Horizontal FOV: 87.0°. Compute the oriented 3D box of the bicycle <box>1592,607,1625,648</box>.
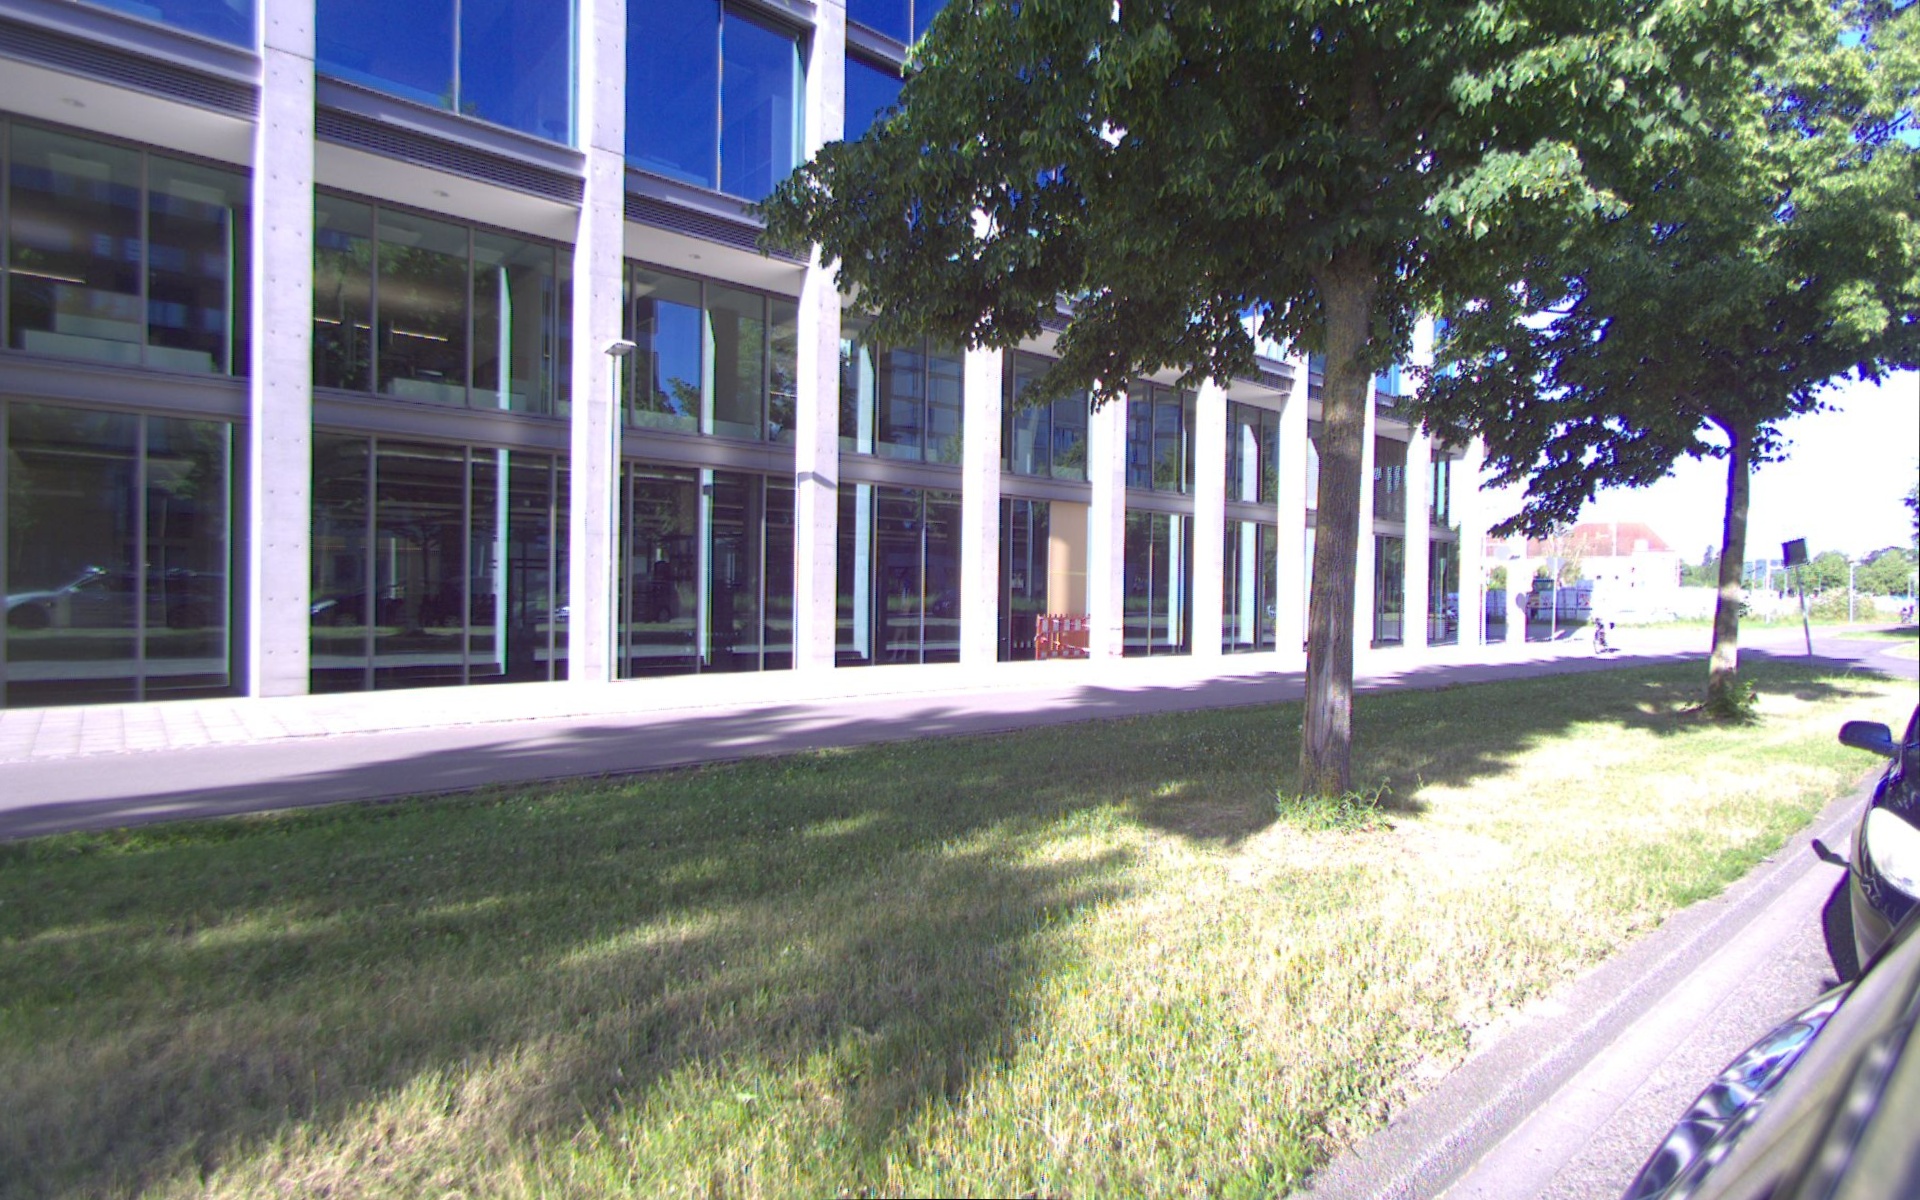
[{"bbox_3d":[20.051,0.830,31.281,0.589,1.170,1.899,3,2,40],"label":"bicycle"}]

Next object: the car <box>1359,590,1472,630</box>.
[{"bbox_3d":[19.511,0.389,43.487,1.963,1.598,3.997,0,1,-38],"label":"car"}]

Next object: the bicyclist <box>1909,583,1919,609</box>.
[{"bbox_3d":[77.814,-0.304,82.234,1.101,2.082,0.930,0,0,-41],"label":"bicyclist"}]

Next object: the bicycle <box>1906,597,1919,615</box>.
[{"bbox_3d":[77.785,0.477,82.229,3.930,1.380,0.930,0,1,-41],"label":"bicycle"}]

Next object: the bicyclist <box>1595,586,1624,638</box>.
[{"bbox_3d":[20.068,0.379,31.265,0.589,1.558,0.689,3,2,40],"label":"bicyclist"}]

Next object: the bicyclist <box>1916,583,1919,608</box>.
[{"bbox_3d":[80.866,-0.337,84.870,1.101,2.082,0.930,0,0,-41],"label":"bicyclist"}]

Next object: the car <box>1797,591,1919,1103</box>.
[{"bbox_3d":[4.896,0.735,3.929,4.403,1.500,1.845,0,1,-41],"label":"car"}]

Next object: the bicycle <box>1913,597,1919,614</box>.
[{"bbox_3d":[81.037,0.442,85.058,3.930,1.380,0.930,0,1,-41],"label":"bicycle"}]
